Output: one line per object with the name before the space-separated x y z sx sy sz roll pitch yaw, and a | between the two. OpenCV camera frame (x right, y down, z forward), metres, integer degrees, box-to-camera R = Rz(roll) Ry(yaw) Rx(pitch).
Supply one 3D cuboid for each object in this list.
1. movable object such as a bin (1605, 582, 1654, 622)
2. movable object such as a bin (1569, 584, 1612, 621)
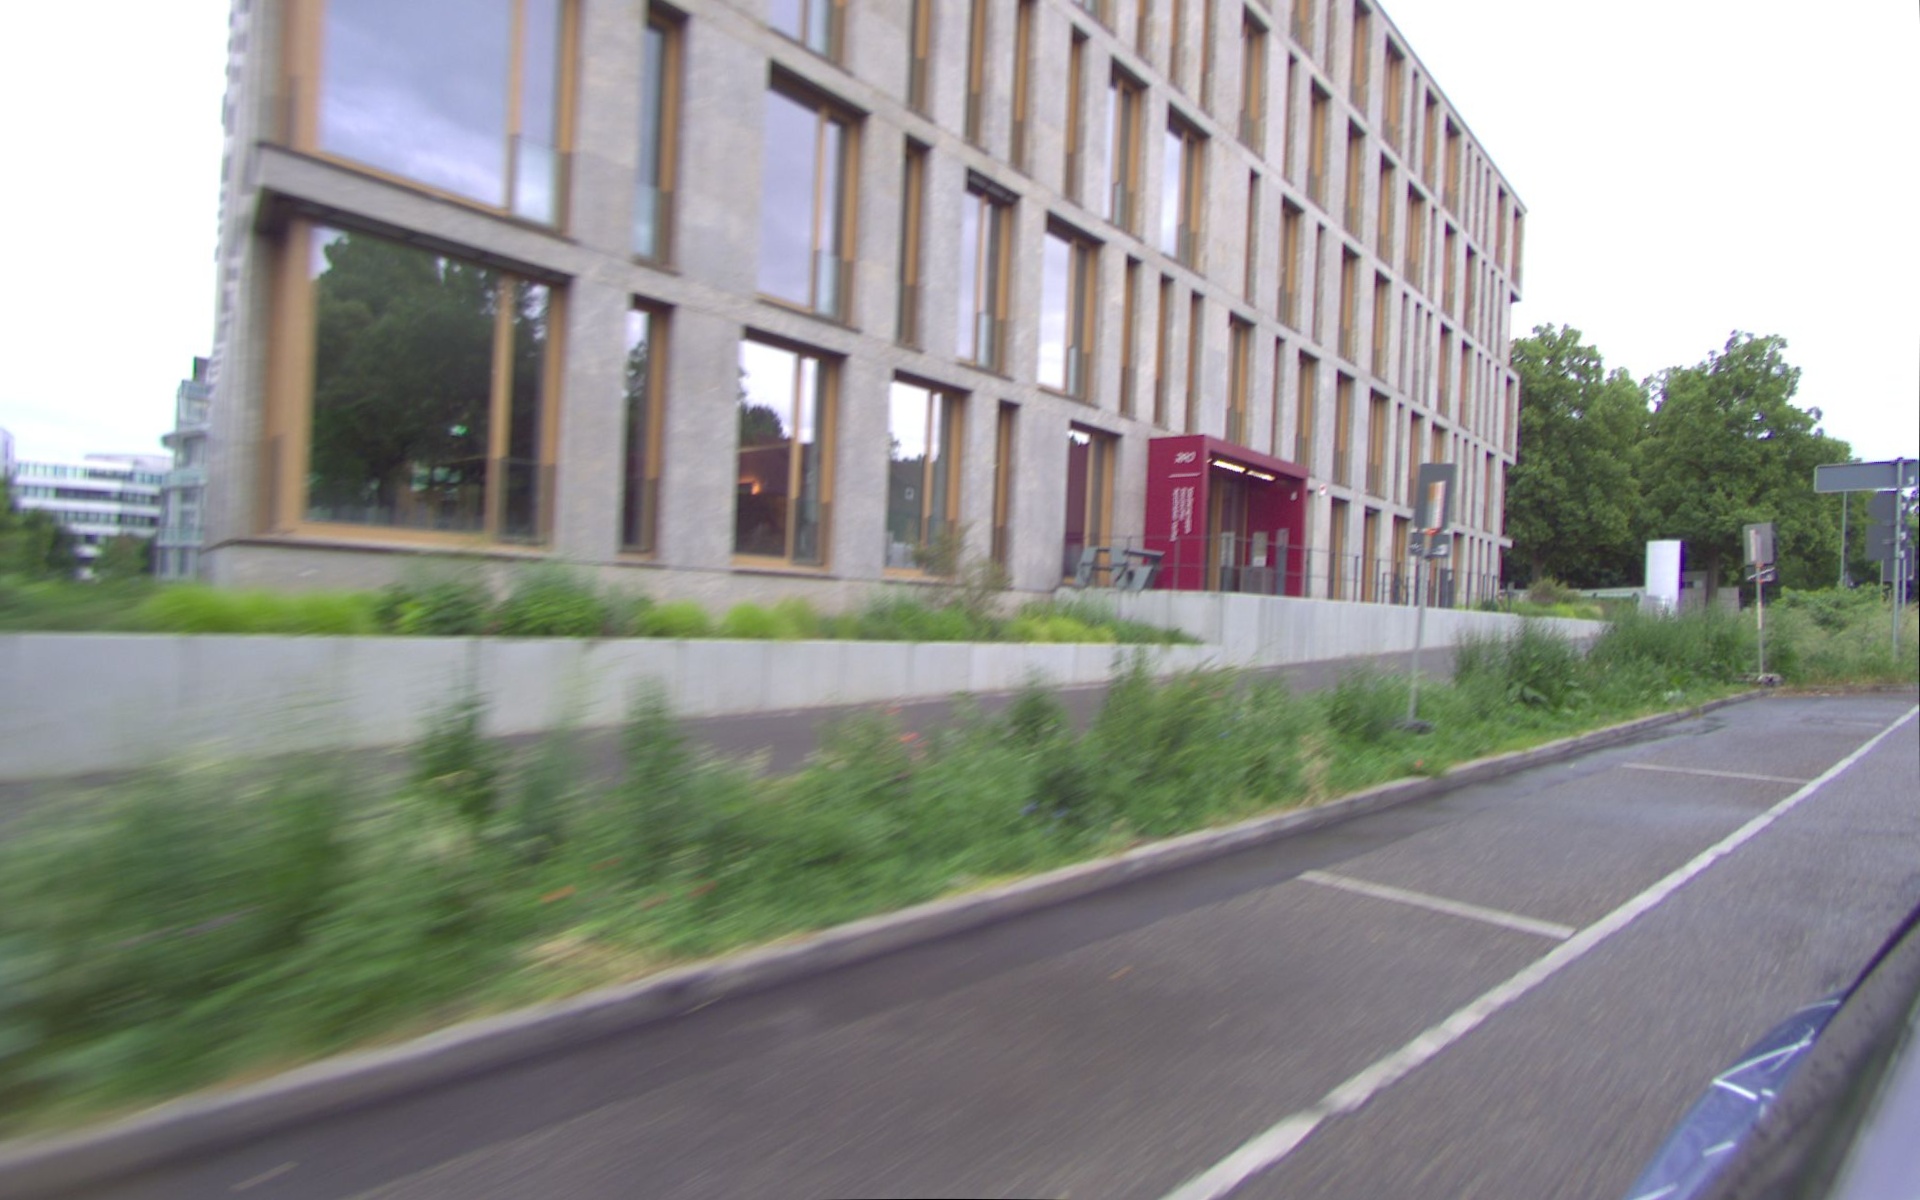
movable object such as a bin | 26.131 0.085 39.522 1.091 1.477 1.249 -1 -2 -38
movable object such as a bin | 25.189 0.109 40.436 1.129 1.417 1.100 -1 -2 -39
